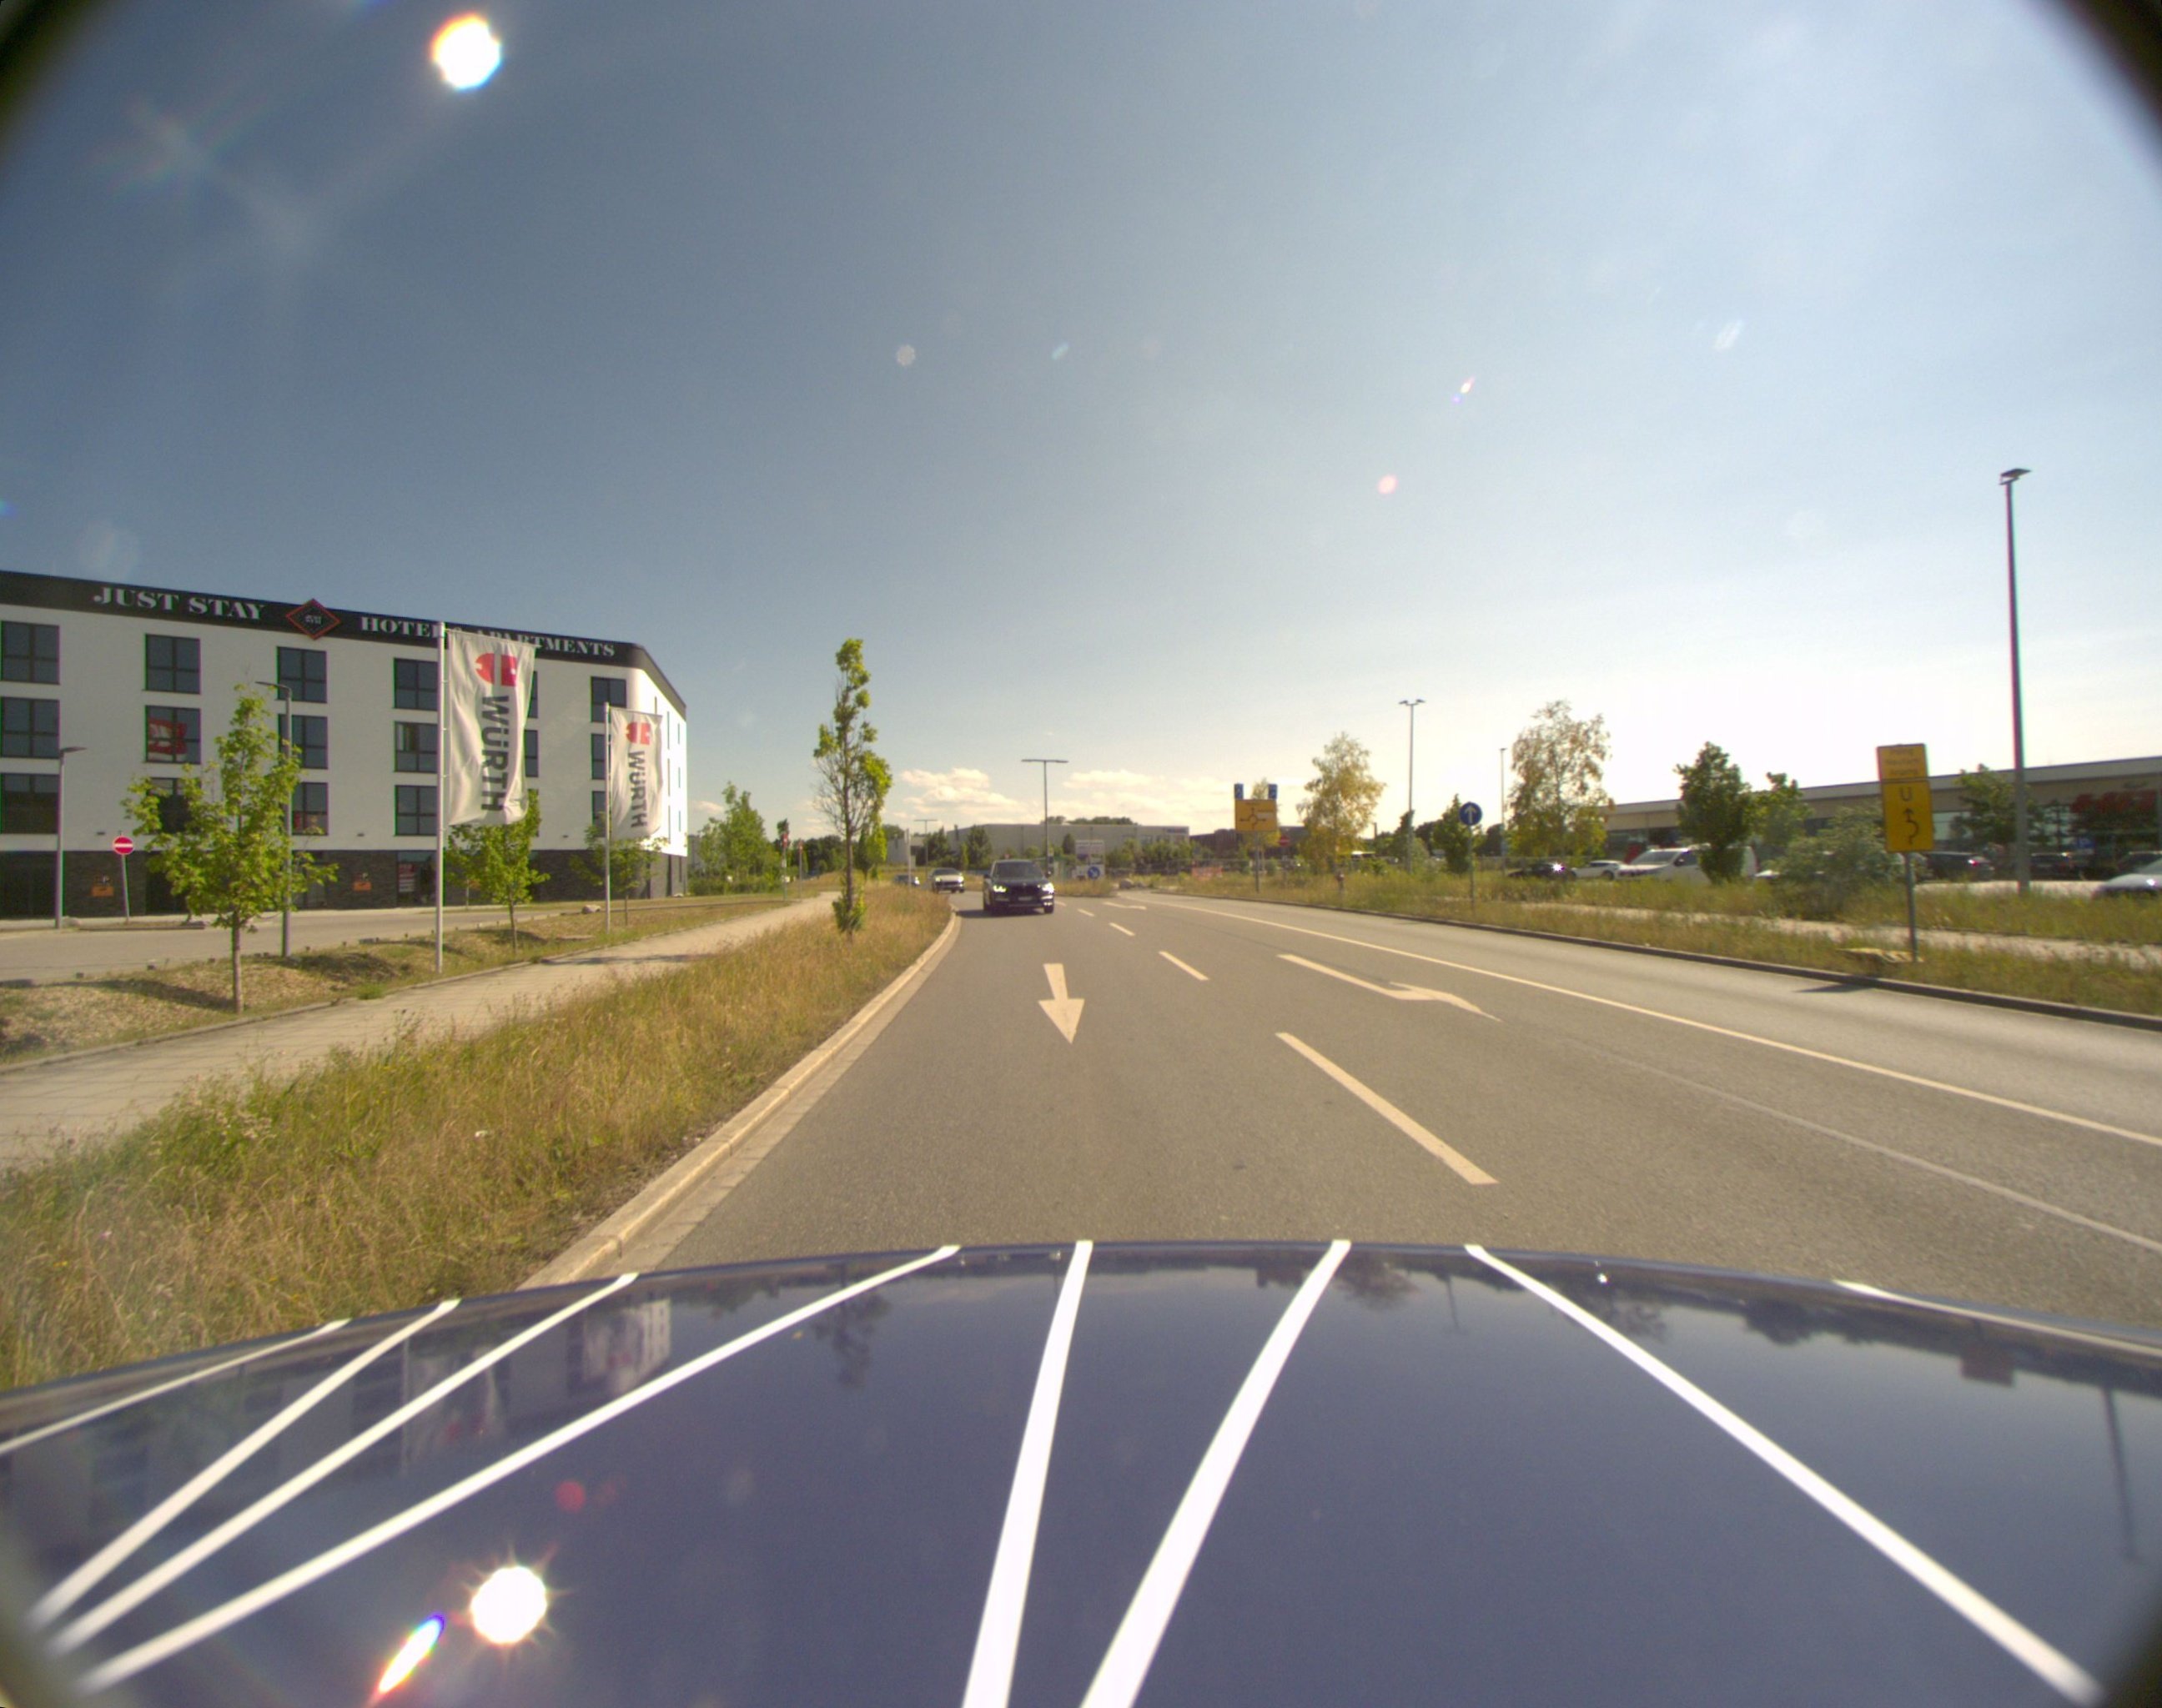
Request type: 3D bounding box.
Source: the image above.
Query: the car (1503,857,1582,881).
[{"bbox_3d":[33.648,1.077,55.564,2.286,1.678,4.411,-1,0,-25],"label":"car"}]

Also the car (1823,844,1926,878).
[{"bbox_3d":[38.041,0.334,36.435,4.003,1.543,1.841,-1,0,-18],"label":"car"}]

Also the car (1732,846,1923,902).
[{"bbox_3d":[24.255,0.632,24.780,4.604,1.662,1.999,-1,0,-7],"label":"car"}]

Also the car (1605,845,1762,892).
[{"bbox_3d":[23.683,0.545,29.929,5.199,1.662,1.998,-1,0,-12],"label":"car"}]

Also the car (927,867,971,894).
[{"bbox_3d":[-8.783,1.789,50.123,2.117,1.633,4.771,-2,-2,-19],"label":"car"}]

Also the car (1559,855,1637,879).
[{"bbox_3d":[39.280,0.985,57.860,1.978,1.678,4.567,-1,0,-23],"label":"car"}]

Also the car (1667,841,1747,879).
[{"bbox_3d":[45.336,0.413,55.001,5.725,2.572,1.937,-1,0,-21],"label":"car"}]

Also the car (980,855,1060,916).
[{"bbox_3d":[-2.016,0.974,23.820,1.902,1.669,4.463,-2,-2,-12],"label":"car"}]

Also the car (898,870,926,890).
[{"bbox_3d":[-15.414,2.334,69.241,1.760,1.677,4.373,-1,-1,-22],"label":"car"}]

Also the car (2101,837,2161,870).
[{"bbox_3d":[51.810,-0.032,36.974,4.360,1.511,1.714,-1,0,-25],"label":"car"}]

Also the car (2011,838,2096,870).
[{"bbox_3d":[50.322,-0.004,39.312,4.360,1.555,1.714,-1,0,-25],"label":"car"}]

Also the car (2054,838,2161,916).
[{"bbox_3d":[25.231,0.451,17.032,4.715,1.662,1.999,-1,0,-6],"label":"car"}]
